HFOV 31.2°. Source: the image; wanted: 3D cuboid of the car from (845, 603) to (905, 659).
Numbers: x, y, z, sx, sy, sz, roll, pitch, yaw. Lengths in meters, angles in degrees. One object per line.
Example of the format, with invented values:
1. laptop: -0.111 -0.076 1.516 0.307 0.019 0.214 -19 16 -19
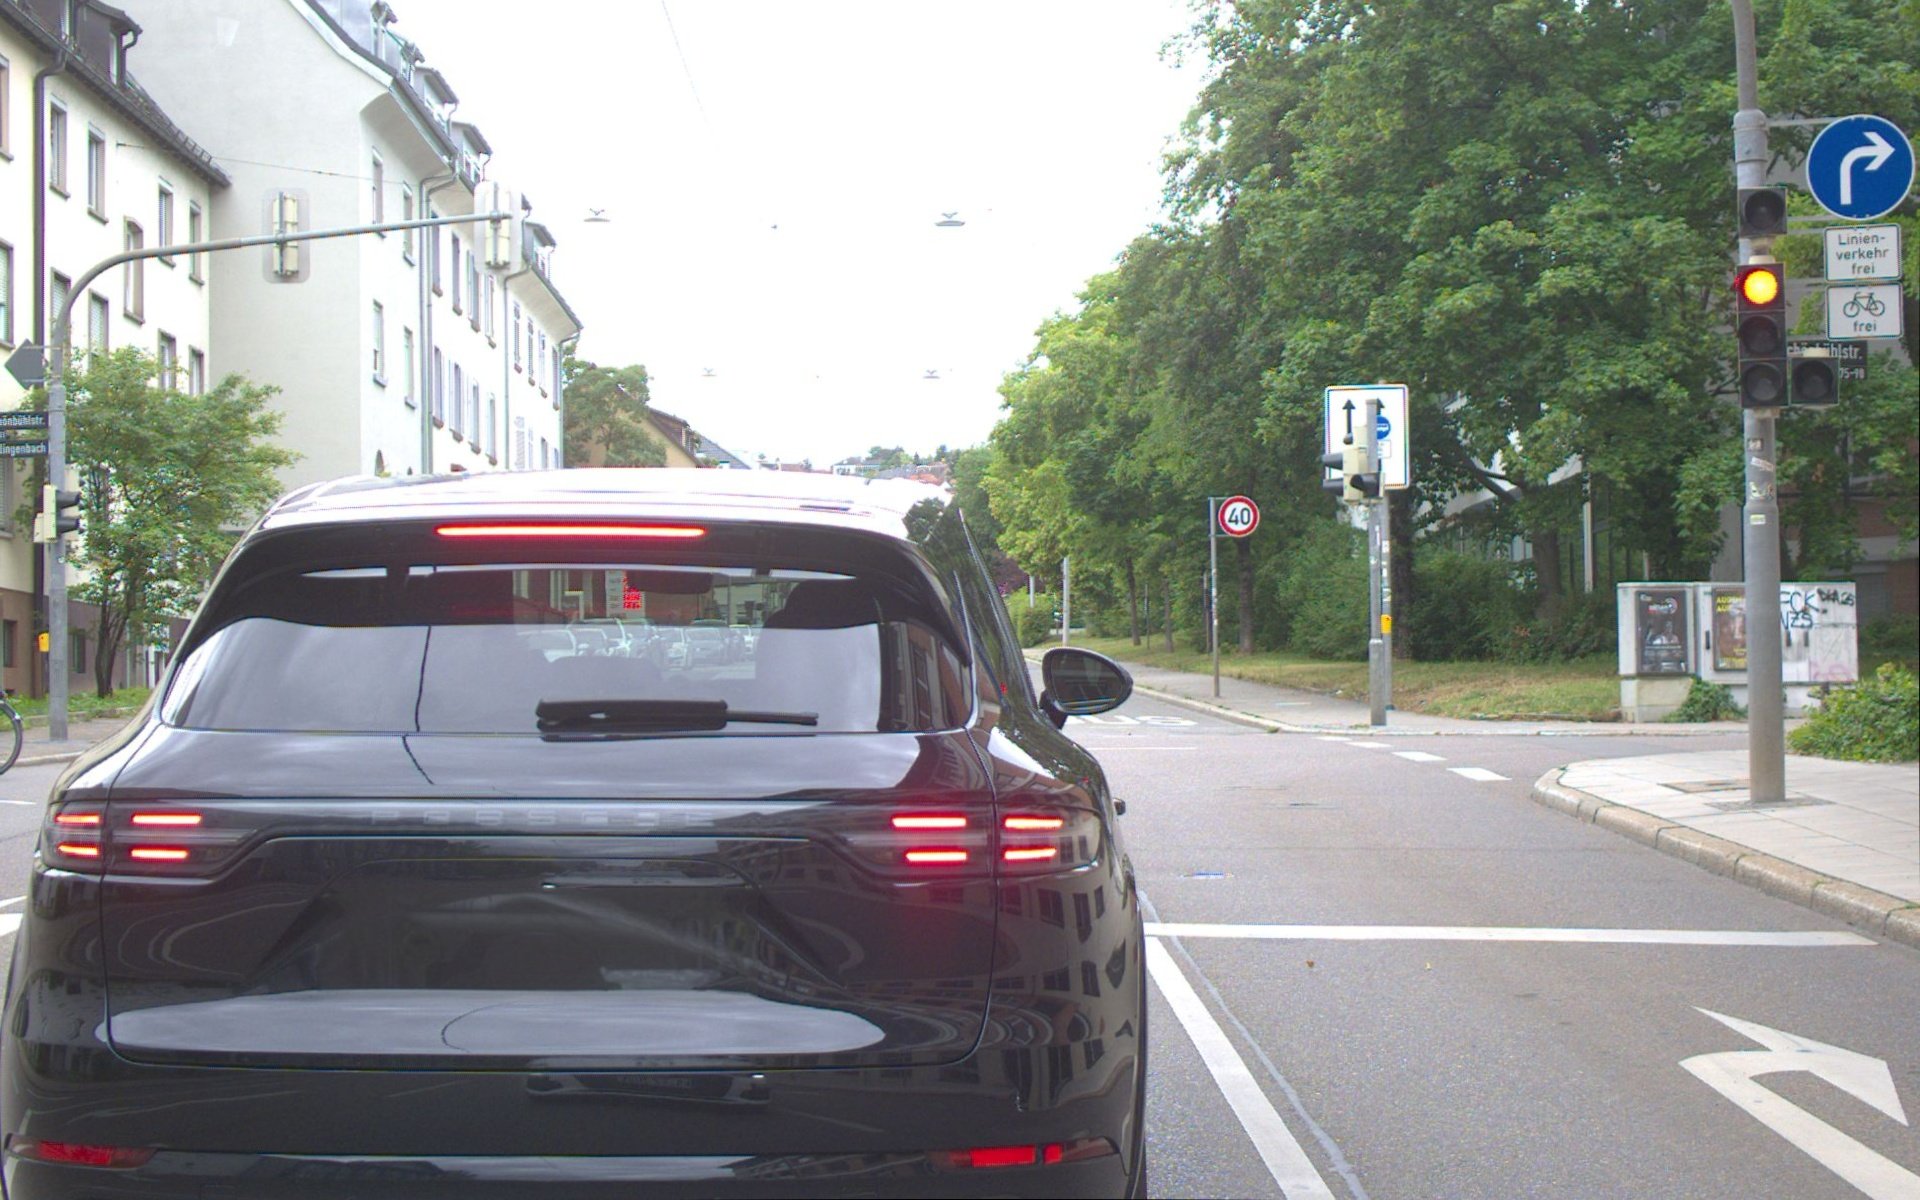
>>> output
1. car: -2.507 0.909 101.256 1.688 1.547 3.889 1 1 -2

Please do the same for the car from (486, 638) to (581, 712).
1. car: -8.611 1.499 69.634 1.669 1.357 4.001 0 1 -3

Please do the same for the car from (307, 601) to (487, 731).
1. car: -7.414 0.843 45.572 1.664 1.514 3.740 -4 0 0

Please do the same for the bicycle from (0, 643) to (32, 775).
1. bicycle: -8.751 0.899 28.679 1.905 1.077 0.703 1 0 -12

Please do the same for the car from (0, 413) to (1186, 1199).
1. car: -0.690 0.556 7.164 1.993 1.691 4.000 1 1 -1
